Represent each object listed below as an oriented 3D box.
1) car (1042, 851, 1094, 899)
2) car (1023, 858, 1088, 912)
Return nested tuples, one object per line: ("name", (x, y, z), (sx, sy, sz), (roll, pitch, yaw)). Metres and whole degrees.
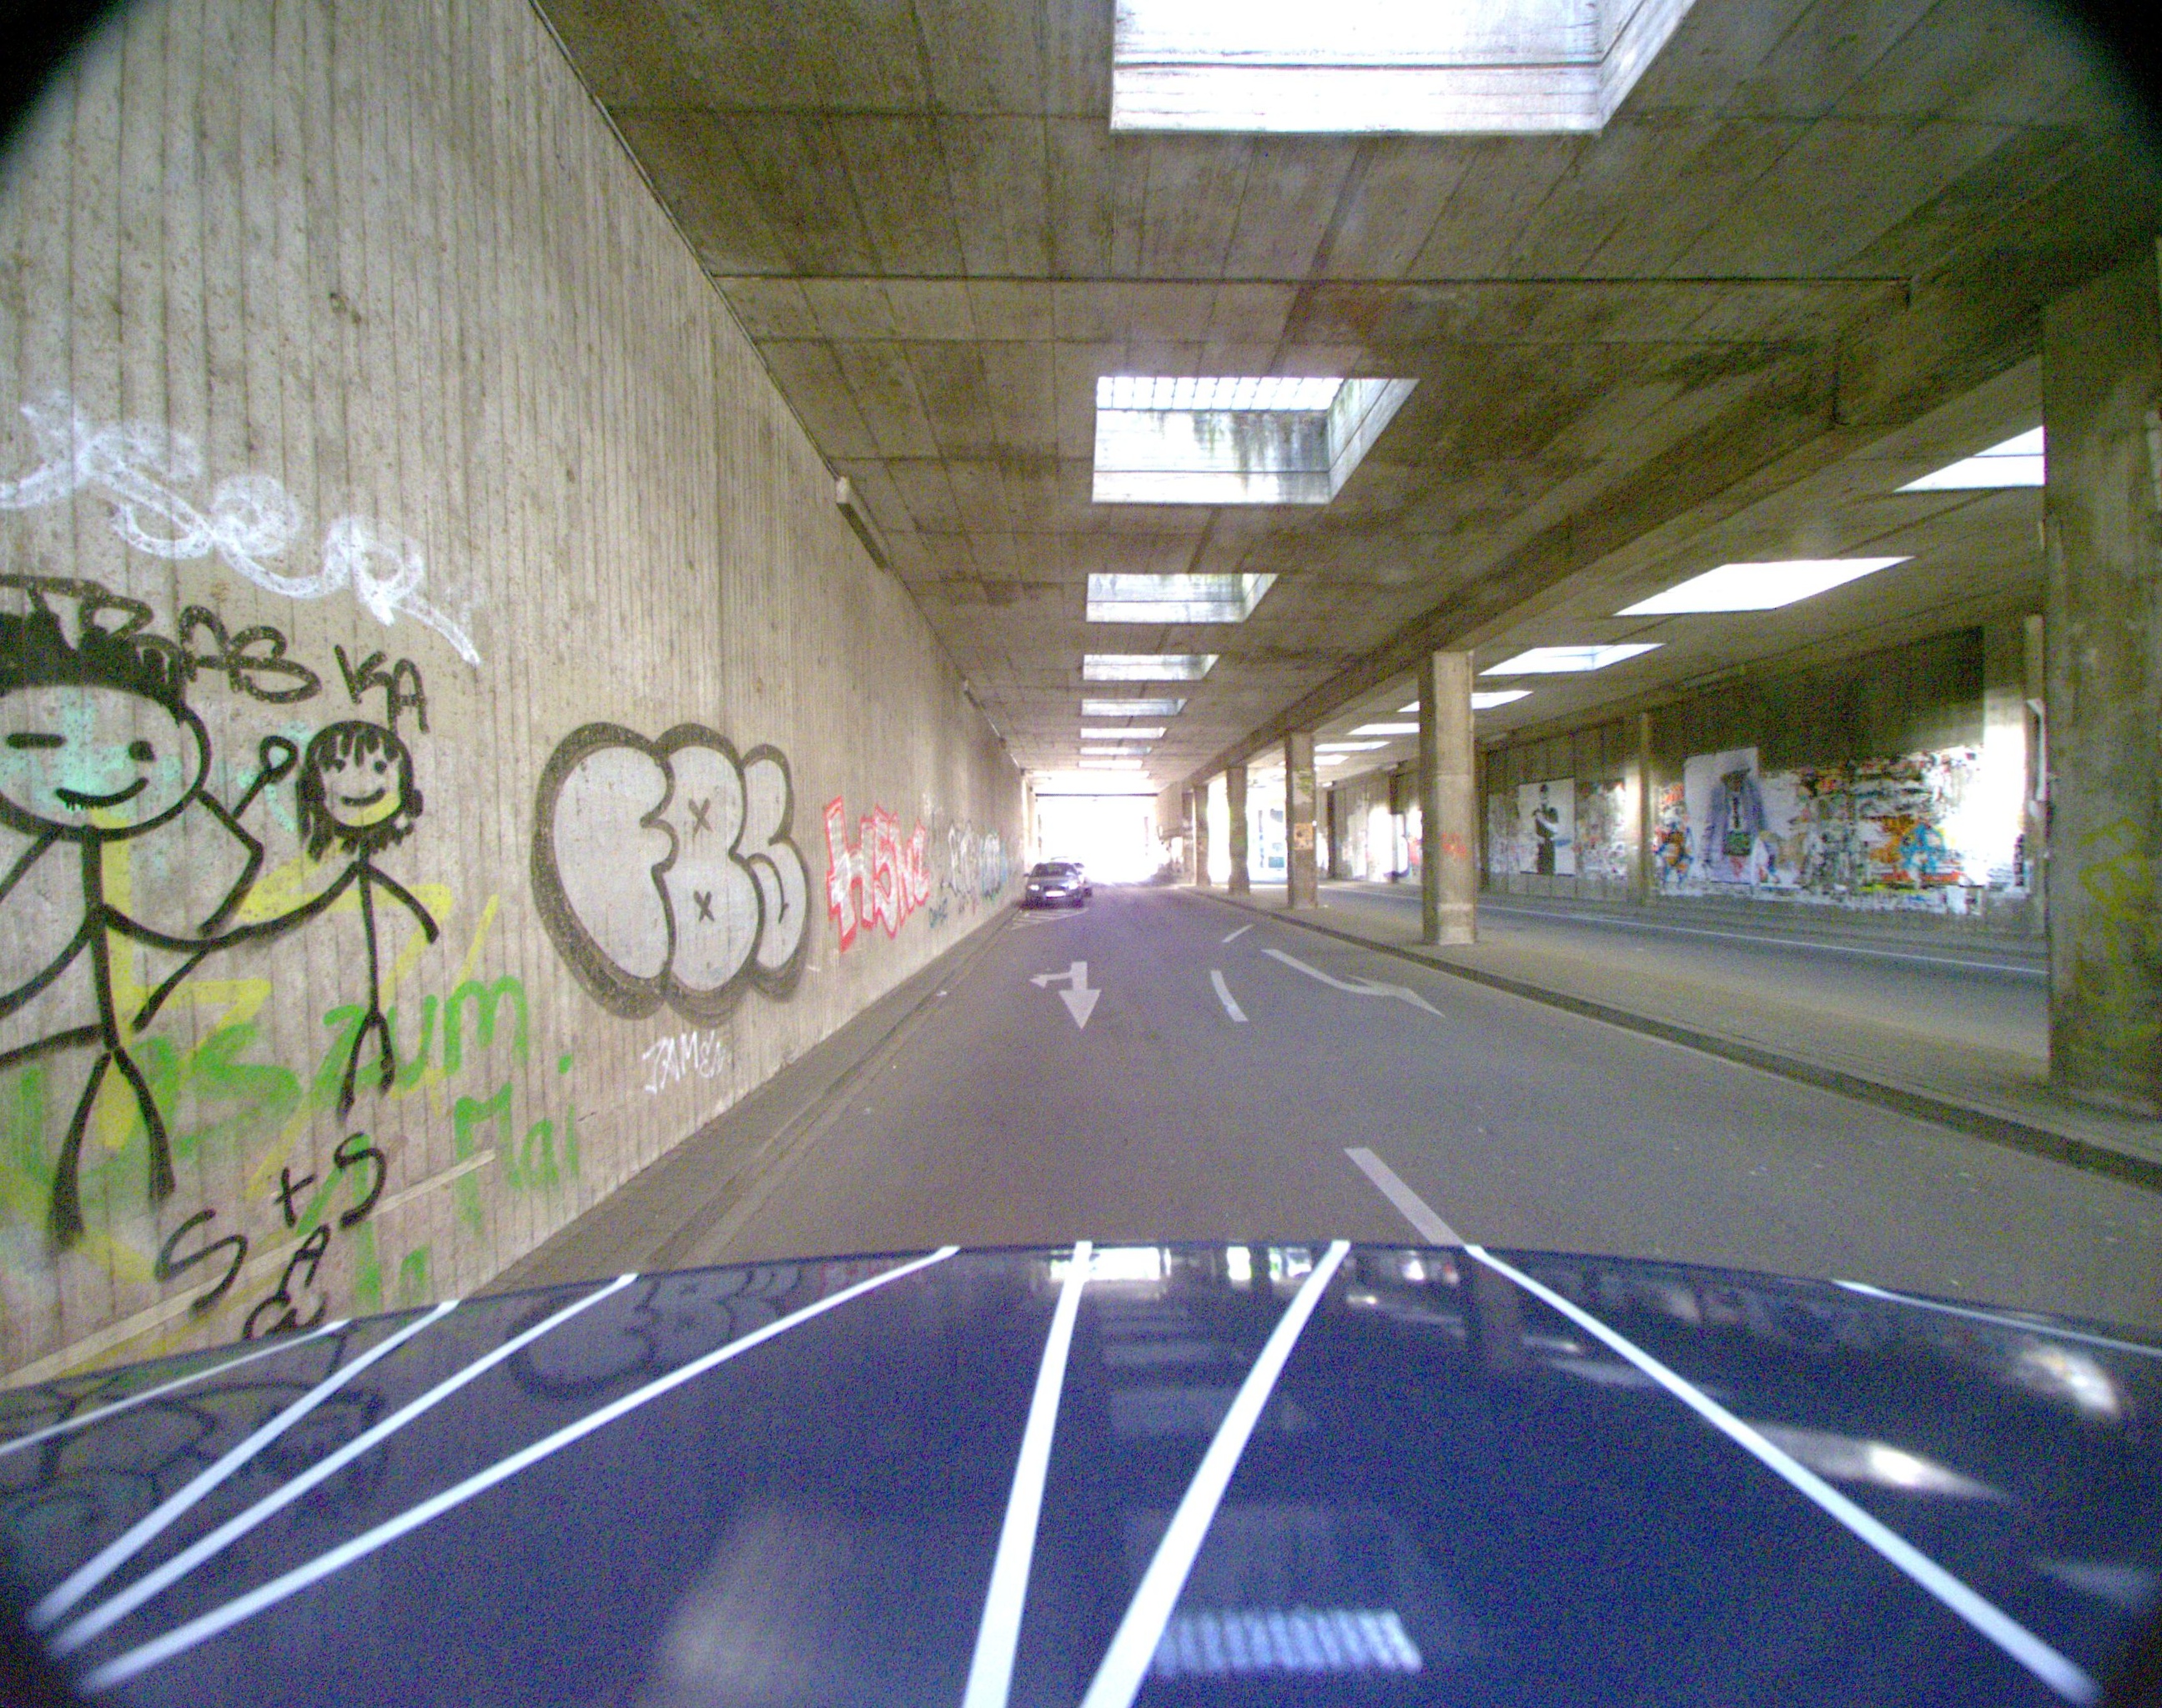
("car", (-0.449, 0.760, 29.697), (1.861, 1.709, 4.000), (-2, 0, 1))
("car", (-0.716, 0.913, 24.074), (1.808, 1.460, 4.000), (-2, 0, 1))
